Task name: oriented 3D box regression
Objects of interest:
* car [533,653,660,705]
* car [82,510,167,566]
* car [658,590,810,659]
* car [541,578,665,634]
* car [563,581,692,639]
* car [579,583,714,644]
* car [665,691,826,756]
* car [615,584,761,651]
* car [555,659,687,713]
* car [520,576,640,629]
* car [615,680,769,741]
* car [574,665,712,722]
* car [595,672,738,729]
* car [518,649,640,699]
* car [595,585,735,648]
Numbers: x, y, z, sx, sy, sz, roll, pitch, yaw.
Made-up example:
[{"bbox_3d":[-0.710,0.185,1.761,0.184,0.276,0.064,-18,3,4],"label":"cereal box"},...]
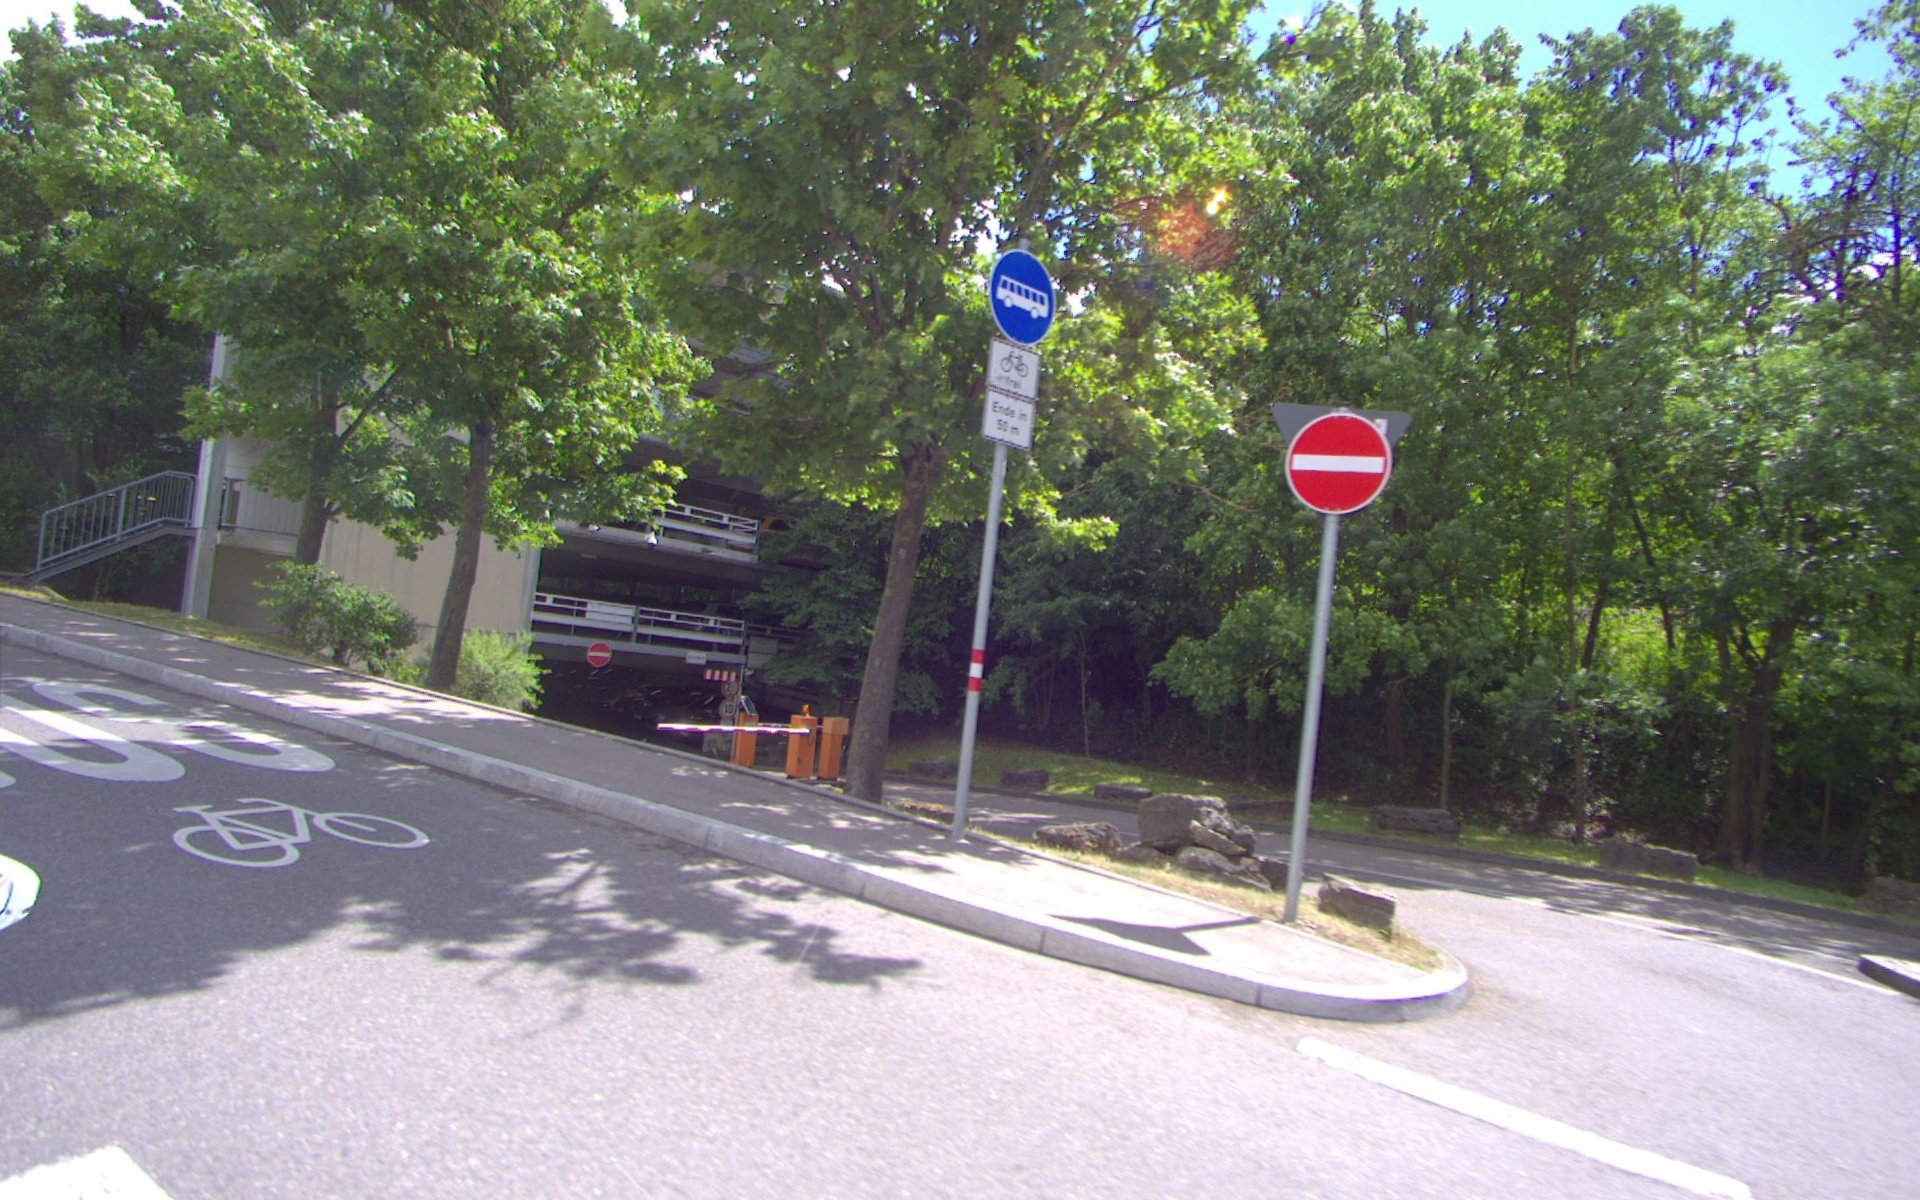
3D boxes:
[{"bbox_3d":[-14.556,3.184,40.417,4.294,1.506,1.980,9,-2,-37],"label":"car"},{"bbox_3d":[-32.278,-2.391,38.837,3.654,1.821,1.874,5,0,41],"label":"car"},{"bbox_3d":[-7.342,0.819,32.914,4.294,1.649,1.980,9,-2,-37],"label":"car"},{"bbox_3d":[-14.697,0.260,41.505,4.294,1.649,1.980,9,-2,-37],"label":"car"},{"bbox_3d":[-13.028,0.406,39.528,4.294,1.649,1.980,9,-2,-37],"label":"car"},{"bbox_3d":[-11.771,0.512,37.886,4.294,1.649,1.980,9,-2,-37],"label":"car"},{"bbox_3d":[-6.537,3.800,30.798,4.294,1.434,1.980,9,-2,-37],"label":"car"},{"bbox_3d":[-9.316,0.610,34.619,4.294,1.649,1.980,9,-2,-37],"label":"car"},{"bbox_3d":[-12.960,3.312,38.574,4.294,1.506,1.980,9,-2,-37],"label":"car"},{"bbox_3d":[-16.237,0.120,43.047,4.294,1.649,1.980,9,-2,-37],"label":"car"},{"bbox_3d":[-8.683,3.624,32.750,4.294,1.434,1.980,9,-2,-37],"label":"car"},{"bbox_3d":[-11.608,3.438,36.929,4.294,1.506,1.980,9,-2,-37],"label":"car"},{"bbox_3d":[-10.280,3.530,35.334,4.294,1.434,1.980,9,-2,-37],"label":"car"},{"bbox_3d":[-15.926,3.121,42.099,4.294,1.506,1.980,9,-2,-37],"label":"car"},{"bbox_3d":[-10.586,0.610,36.217,4.294,1.649,1.980,9,-2,-37],"label":"car"}]
